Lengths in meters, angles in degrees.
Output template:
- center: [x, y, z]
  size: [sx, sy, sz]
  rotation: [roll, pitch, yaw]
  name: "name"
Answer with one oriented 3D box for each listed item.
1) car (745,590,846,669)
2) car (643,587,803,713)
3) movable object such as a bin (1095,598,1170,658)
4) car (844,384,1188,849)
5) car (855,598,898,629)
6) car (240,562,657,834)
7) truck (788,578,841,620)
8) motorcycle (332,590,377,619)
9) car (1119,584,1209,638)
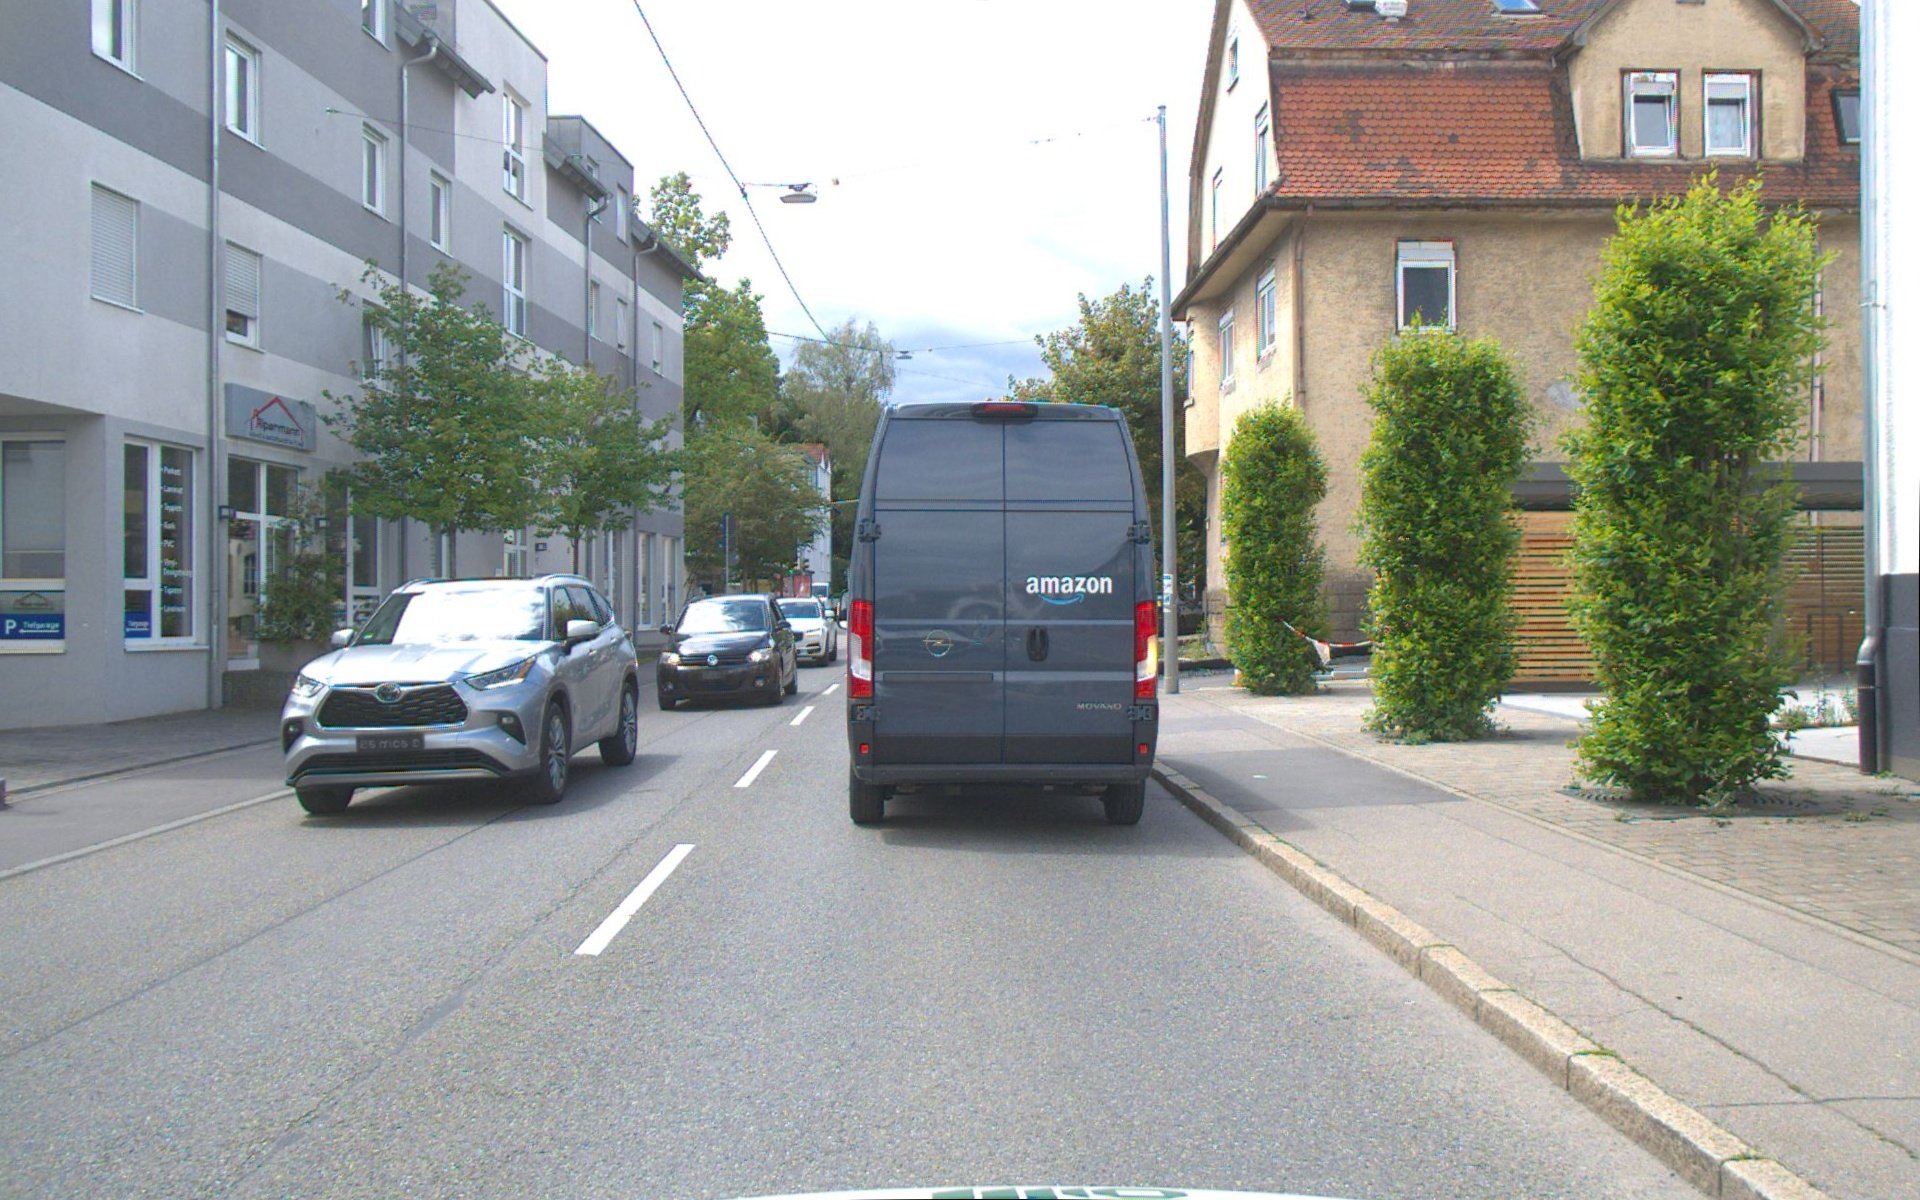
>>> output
- center: [-3.694, 0.627, 37.895]
  size: [1.859, 1.587, 4.799]
  rotation: [-3, 0, -1]
  name: "car"
- center: [-3.340, 0.657, 24.028]
  size: [1.795, 1.612, 4.036]
  rotation: [-2, 0, -2]
  name: "car"
- center: [3.795, 0.600, 36.425]
  size: [1.170, 1.288, 1.197]
  rotation: [0, 0, -31]
  name: "movable object such as a bin"
- center: [0.212, 0.091, 13.213]
  size: [2.105, 2.819, 6.246]
  rotation: [0, 0, -3]
  name: "car"
- center: [-4.000, 0.643, 79.766]
  size: [1.835, 1.449, 4.115]
  rotation: [0, 0, 1]
  name: "car"
- center: [-3.952, 0.672, 13.769]
  size: [1.946, 1.767, 4.795]
  rotation: [-3, 0, -1]
  name: "car"
- center: [-8.590, -0.027, 98.433]
  size: [2.178, 2.421, 6.328]
  rotation: [0, 0, 4]
  name: "truck"
- center: [-21.916, 0.164, 59.937]
  size: [1.180, 1.022, 2.332]
  rotation: [0, 0, -12]
  name: "motorcycle"
- center: [6.777, 0.343, 54.651]
  size: [1.717, 1.543, 4.077]
  rotation: [-4, 0, 25]
  name: "car"
